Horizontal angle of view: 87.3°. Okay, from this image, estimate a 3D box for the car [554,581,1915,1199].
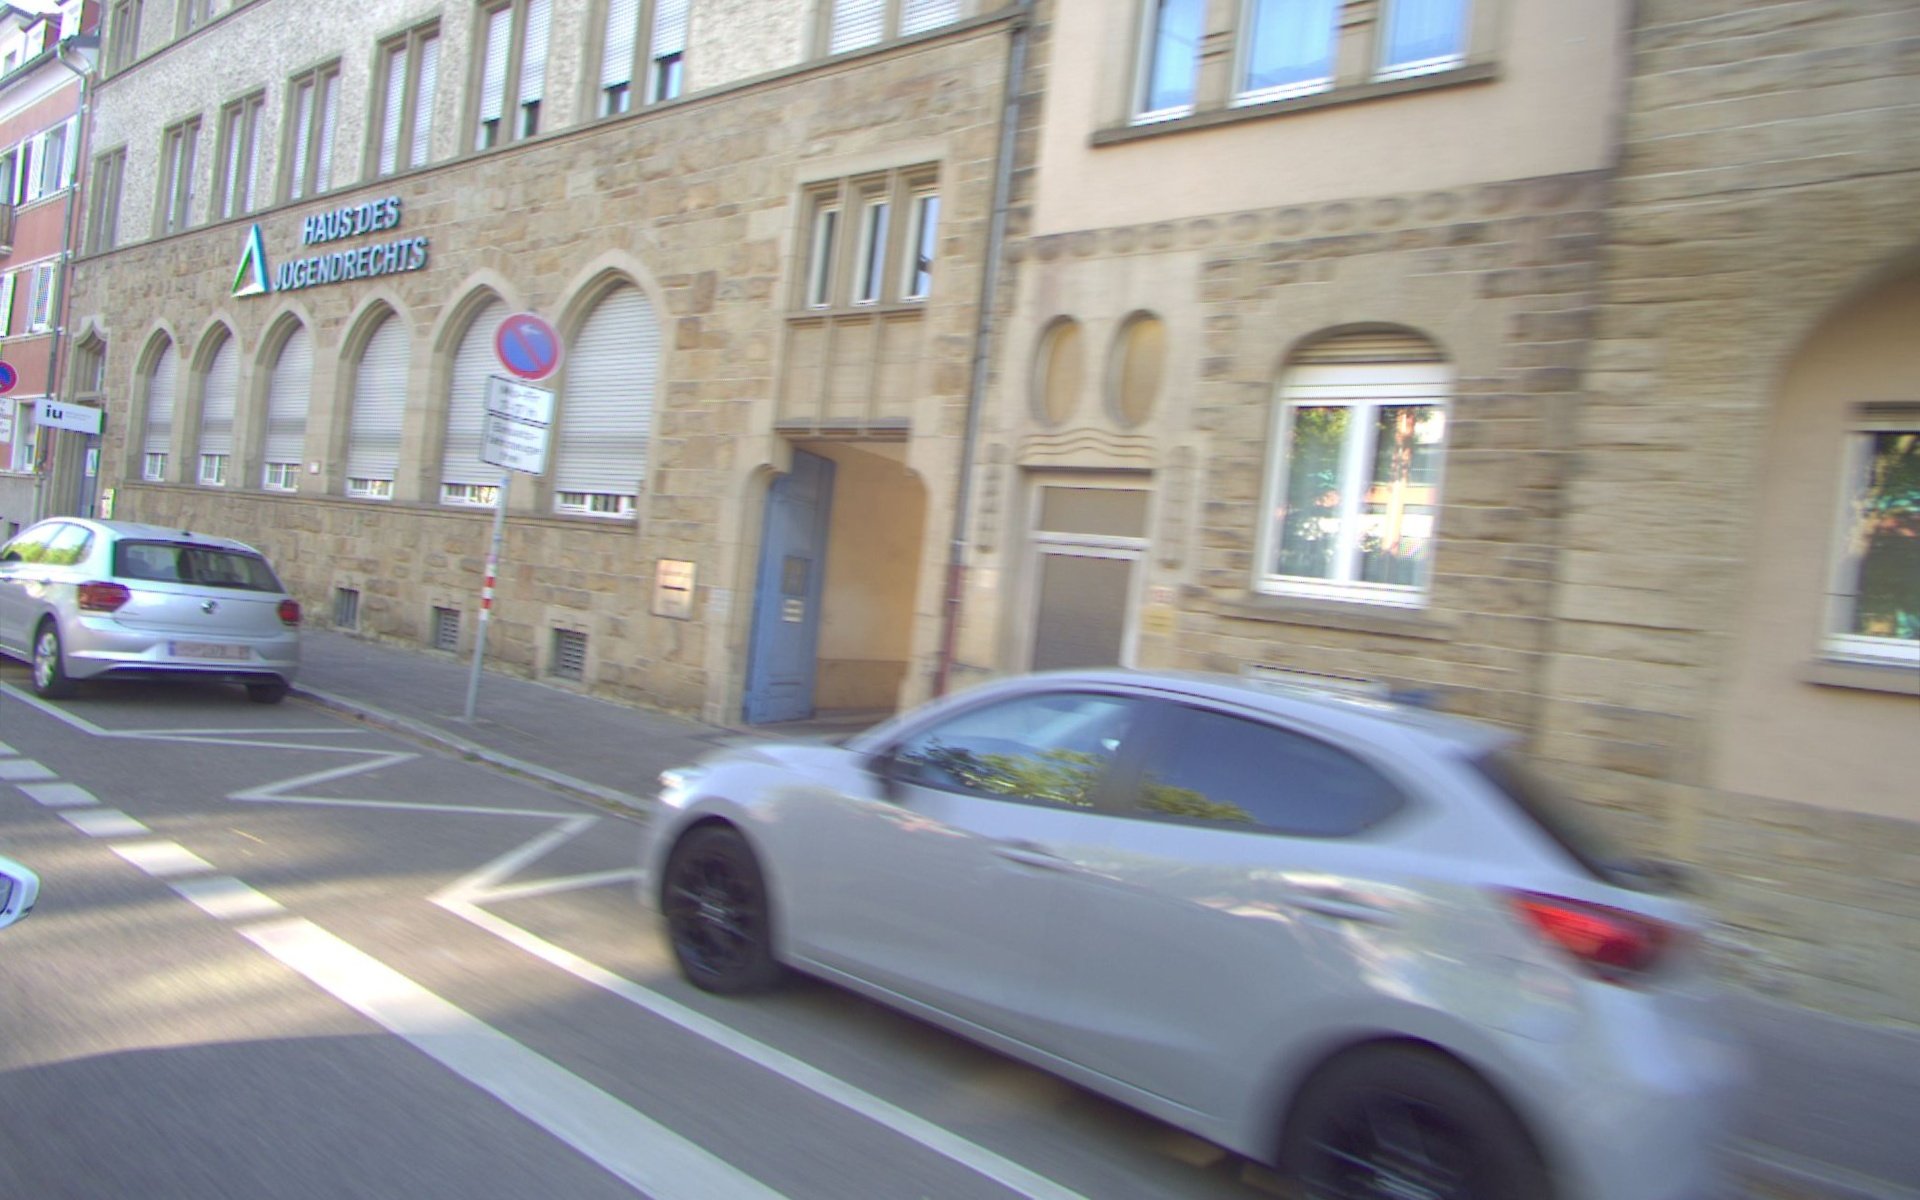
[{"bbox_3d":[0.540,0.963,3.834,4.130,1.518,1.755,7,-2,35],"label":"car"}]

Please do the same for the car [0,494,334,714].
[{"bbox_3d":[-7.801,-0.048,9.304,4.158,1.518,1.717,7,-2,34],"label":"car"}]

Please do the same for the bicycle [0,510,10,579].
[{"bbox_3d":[-17.399,-1.059,17.646,2.222,1.154,0.515,7,2,33],"label":"bicycle"}]
